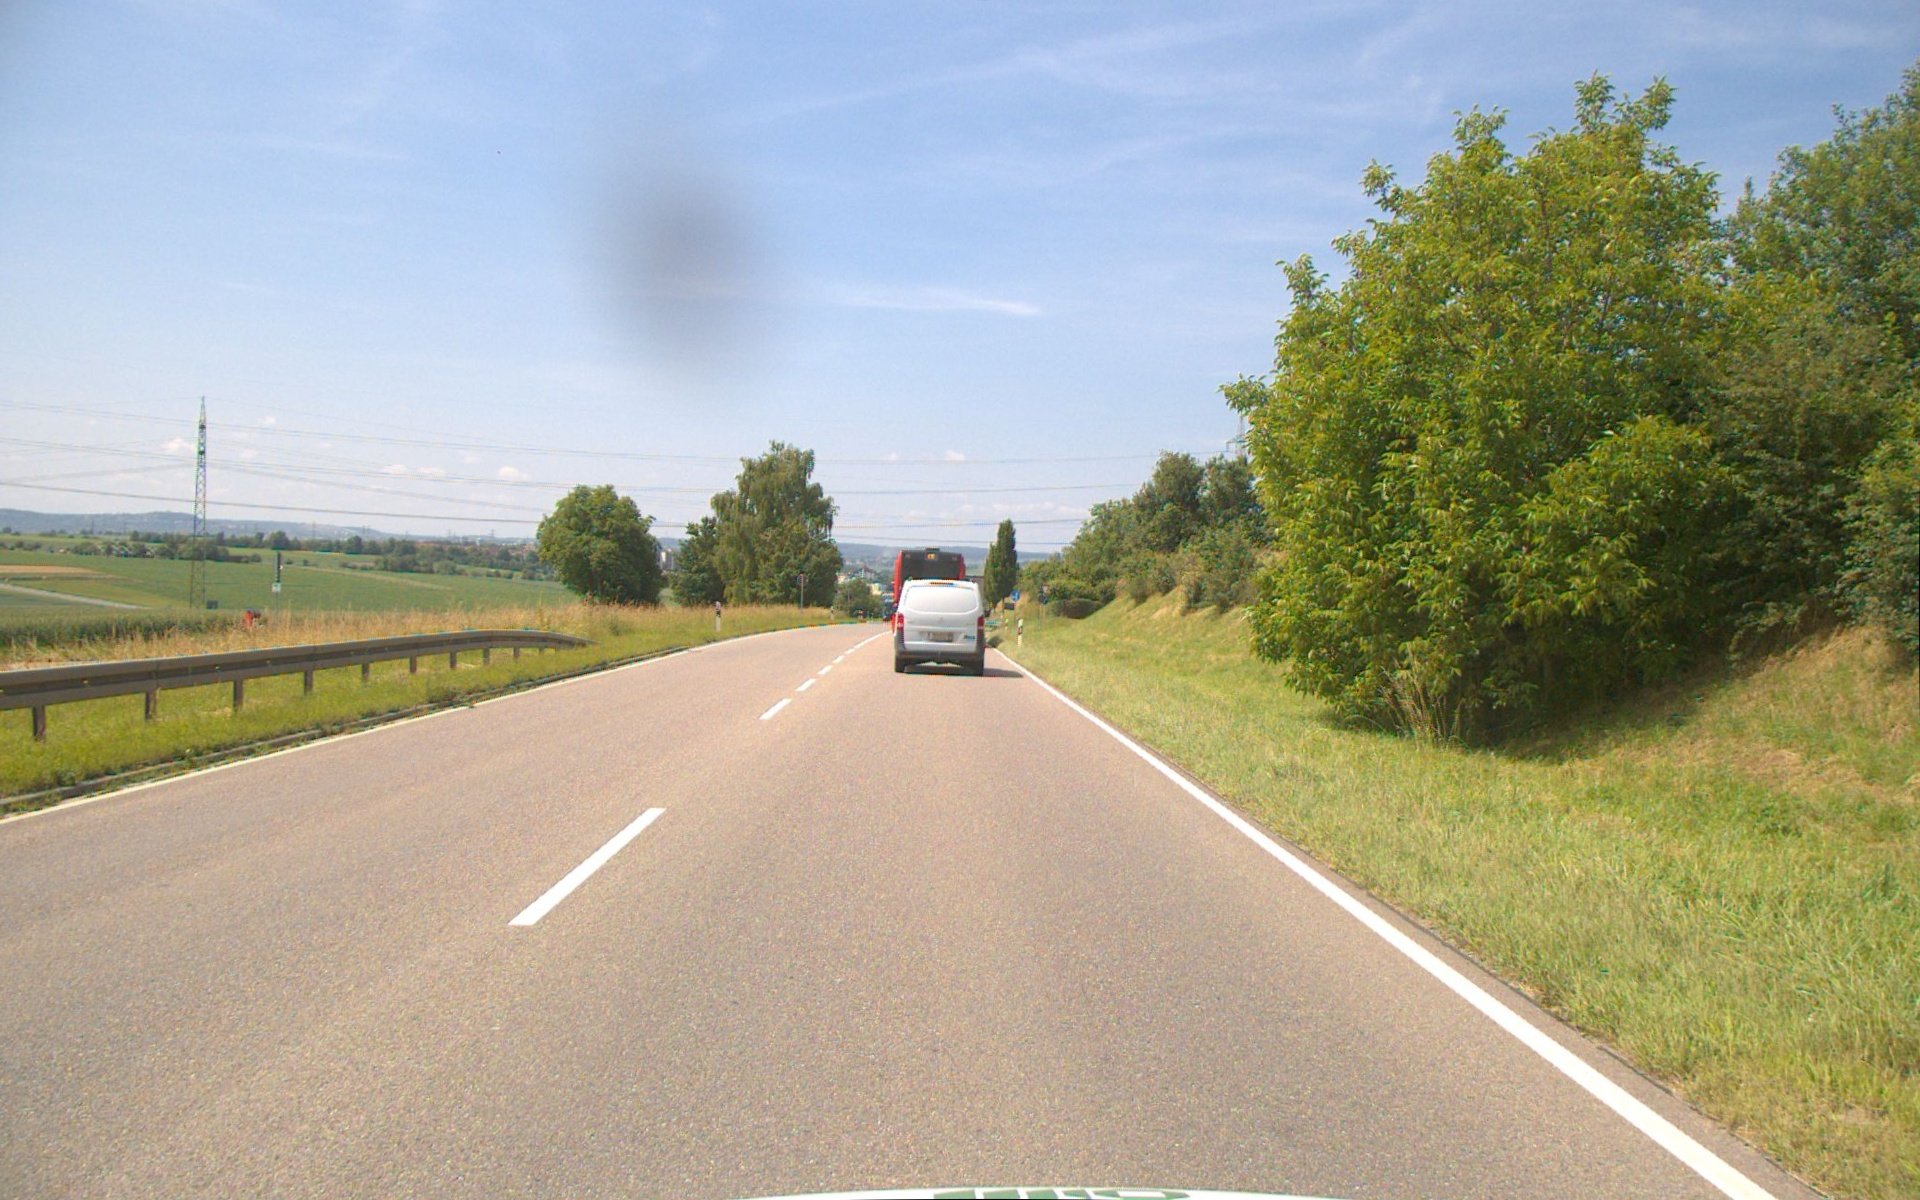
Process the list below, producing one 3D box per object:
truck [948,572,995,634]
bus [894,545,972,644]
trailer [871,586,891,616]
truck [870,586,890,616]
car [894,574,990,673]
[{"bbox_3d":[0.791,0.237,130.045,3.417,4.501,14.900,1,0,-1],"label":"truck"},{"bbox_3d":[-1.143,-0.319,63.800,2.692,3.412,13.217,0,1,-2],"label":"bus"},{"bbox_3d":[-11.715,0.240,245.451,2.540,4.215,13.735,3,-1,-2],"label":"trailer"},{"bbox_3d":[-11.486,0.192,237.664,2.533,4.176,5.440,3,-1,-1],"label":"truck"},{"bbox_3d":[-0.374,0.468,34.947,1.884,1.922,3.999,1,0,-1],"label":"car"}]
